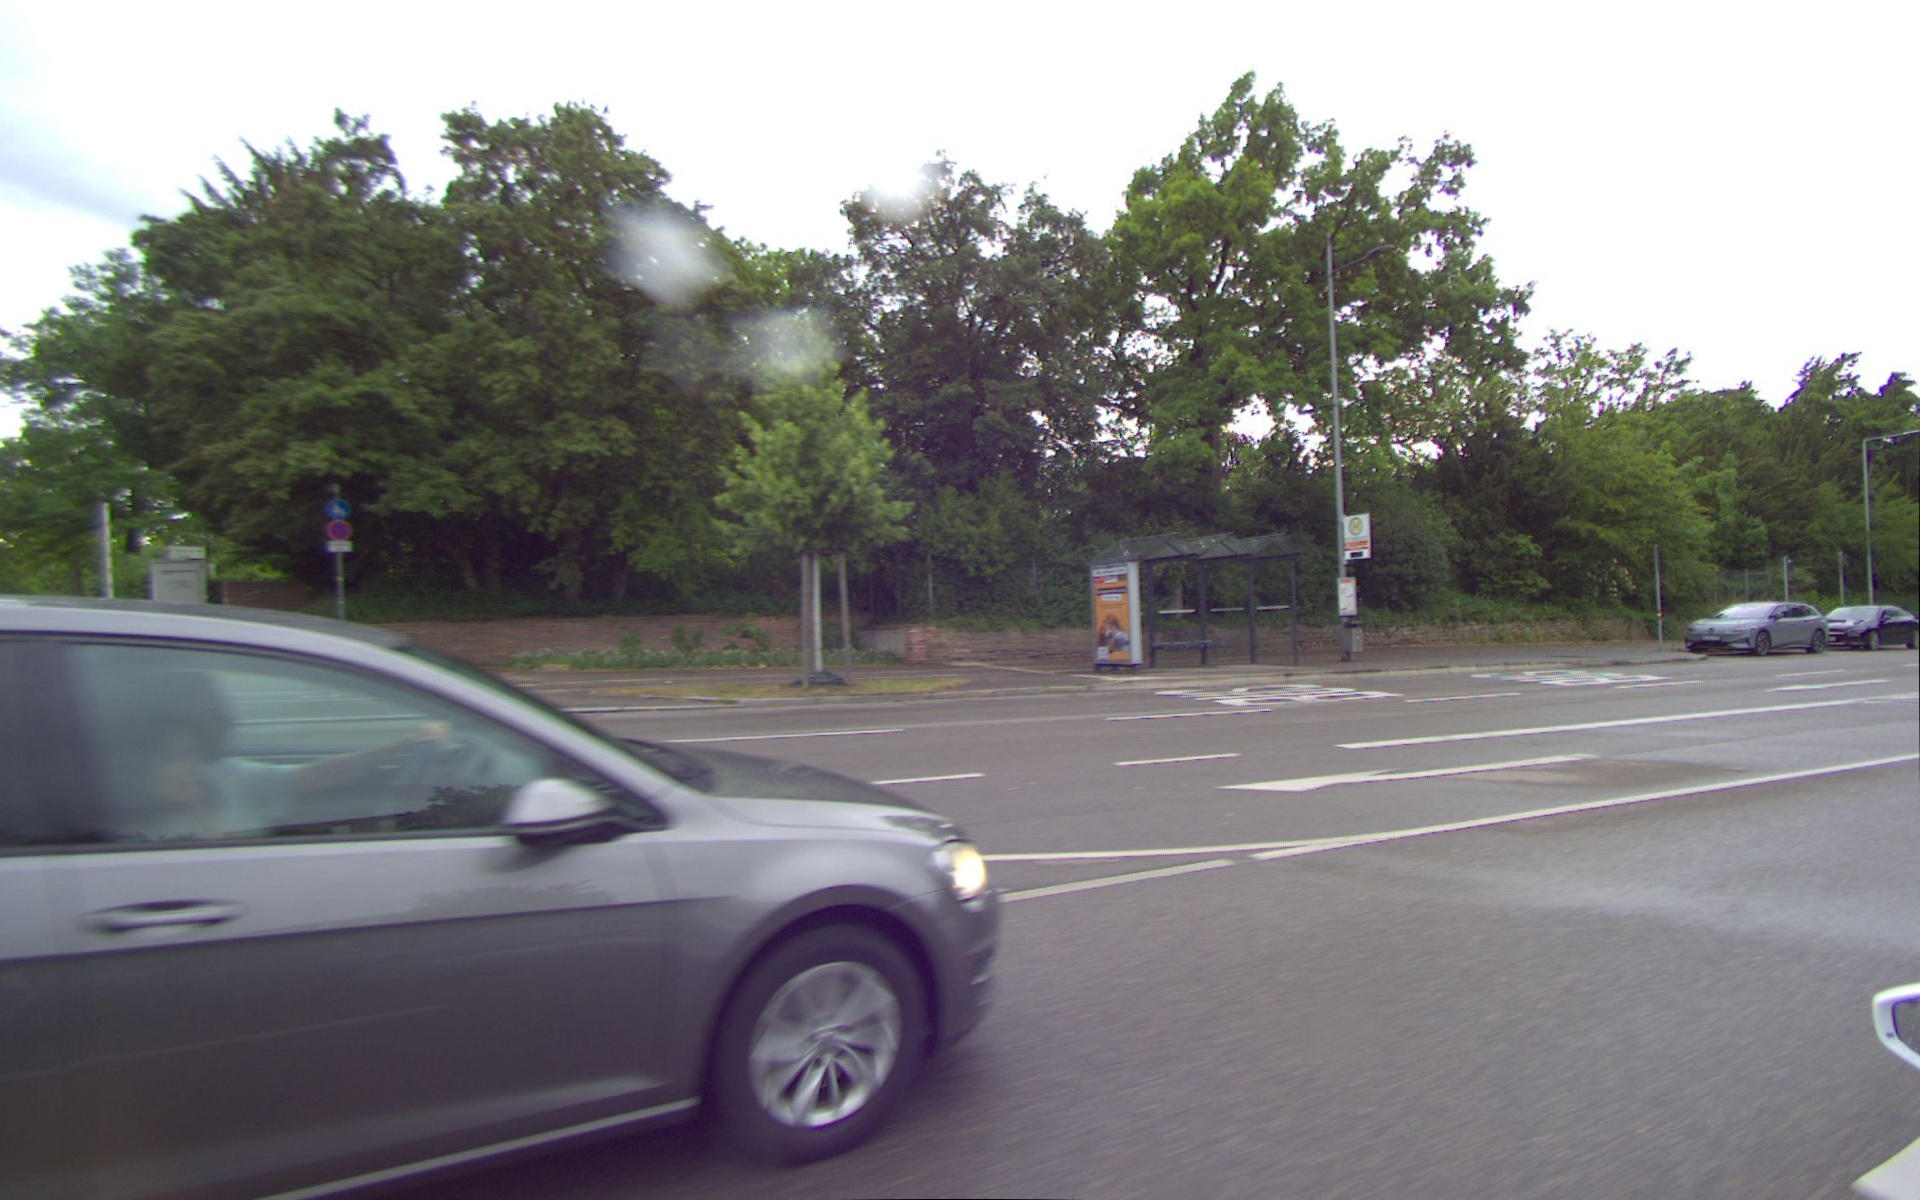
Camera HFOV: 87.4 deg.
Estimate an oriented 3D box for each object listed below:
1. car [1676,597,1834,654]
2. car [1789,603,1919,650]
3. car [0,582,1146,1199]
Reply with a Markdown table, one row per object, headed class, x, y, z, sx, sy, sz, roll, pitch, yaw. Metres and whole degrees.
| class | x | y | z | sx | sy | sz | roll | pitch | yaw |
| --- | --- | --- | --- | --- | --- | --- | --- | --- | --- |
| car | 23.962 | 0.717 | 30.249 | 4.862 | 1.610 | 1.835 | 0 | 0 | -26 |
| car | 29.217 | 0.805 | 32.505 | 4.719 | 1.433 | 1.900 | 0 | 0 | -26 |
| car | -1.693 | 0.722 | 2.837 | 4.249 | 1.460 | 1.861 | 1 | -1 | -32 |
